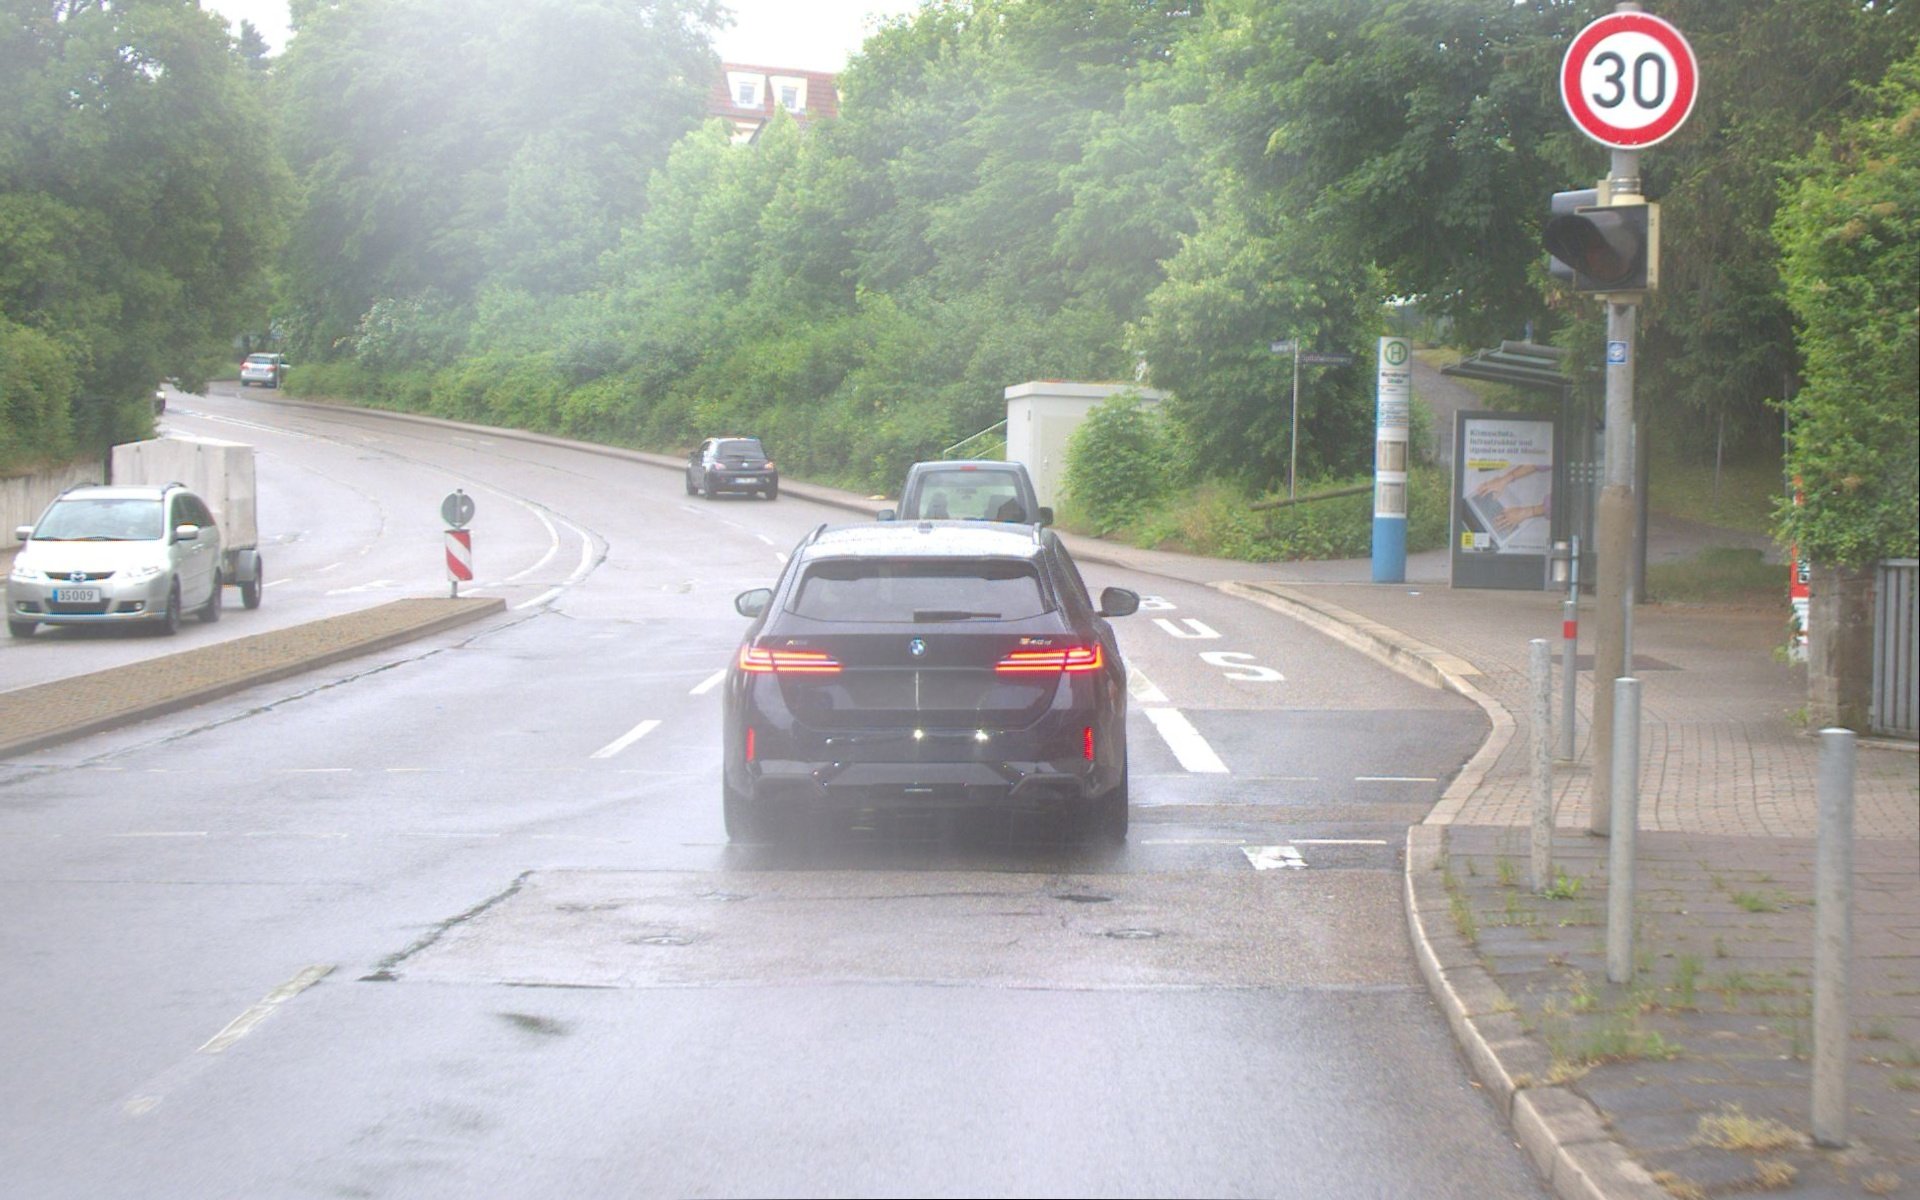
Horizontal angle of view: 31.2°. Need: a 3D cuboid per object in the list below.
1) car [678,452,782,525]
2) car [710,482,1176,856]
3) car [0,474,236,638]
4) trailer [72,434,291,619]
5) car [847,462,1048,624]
[{"bbox_3d":[-5.517,-2.661,82.116,1.850,1.656,4.002,1,2,-13],"label":"car"},{"bbox_3d":[-0.224,0.331,17.221,1.993,1.581,4.663,1,-1,-4],"label":"car"},{"bbox_3d":[-9.409,-0.543,38.213,1.899,1.677,4.480,0,2,-2],"label":"car"},{"bbox_3d":[-9.549,-0.914,42.457,1.896,2.171,4.036,0,1,-2],"label":"trailer"},{"bbox_3d":[-0.199,-0.695,39.089,1.993,1.742,4.001,0,2,-4],"label":"car"}]
